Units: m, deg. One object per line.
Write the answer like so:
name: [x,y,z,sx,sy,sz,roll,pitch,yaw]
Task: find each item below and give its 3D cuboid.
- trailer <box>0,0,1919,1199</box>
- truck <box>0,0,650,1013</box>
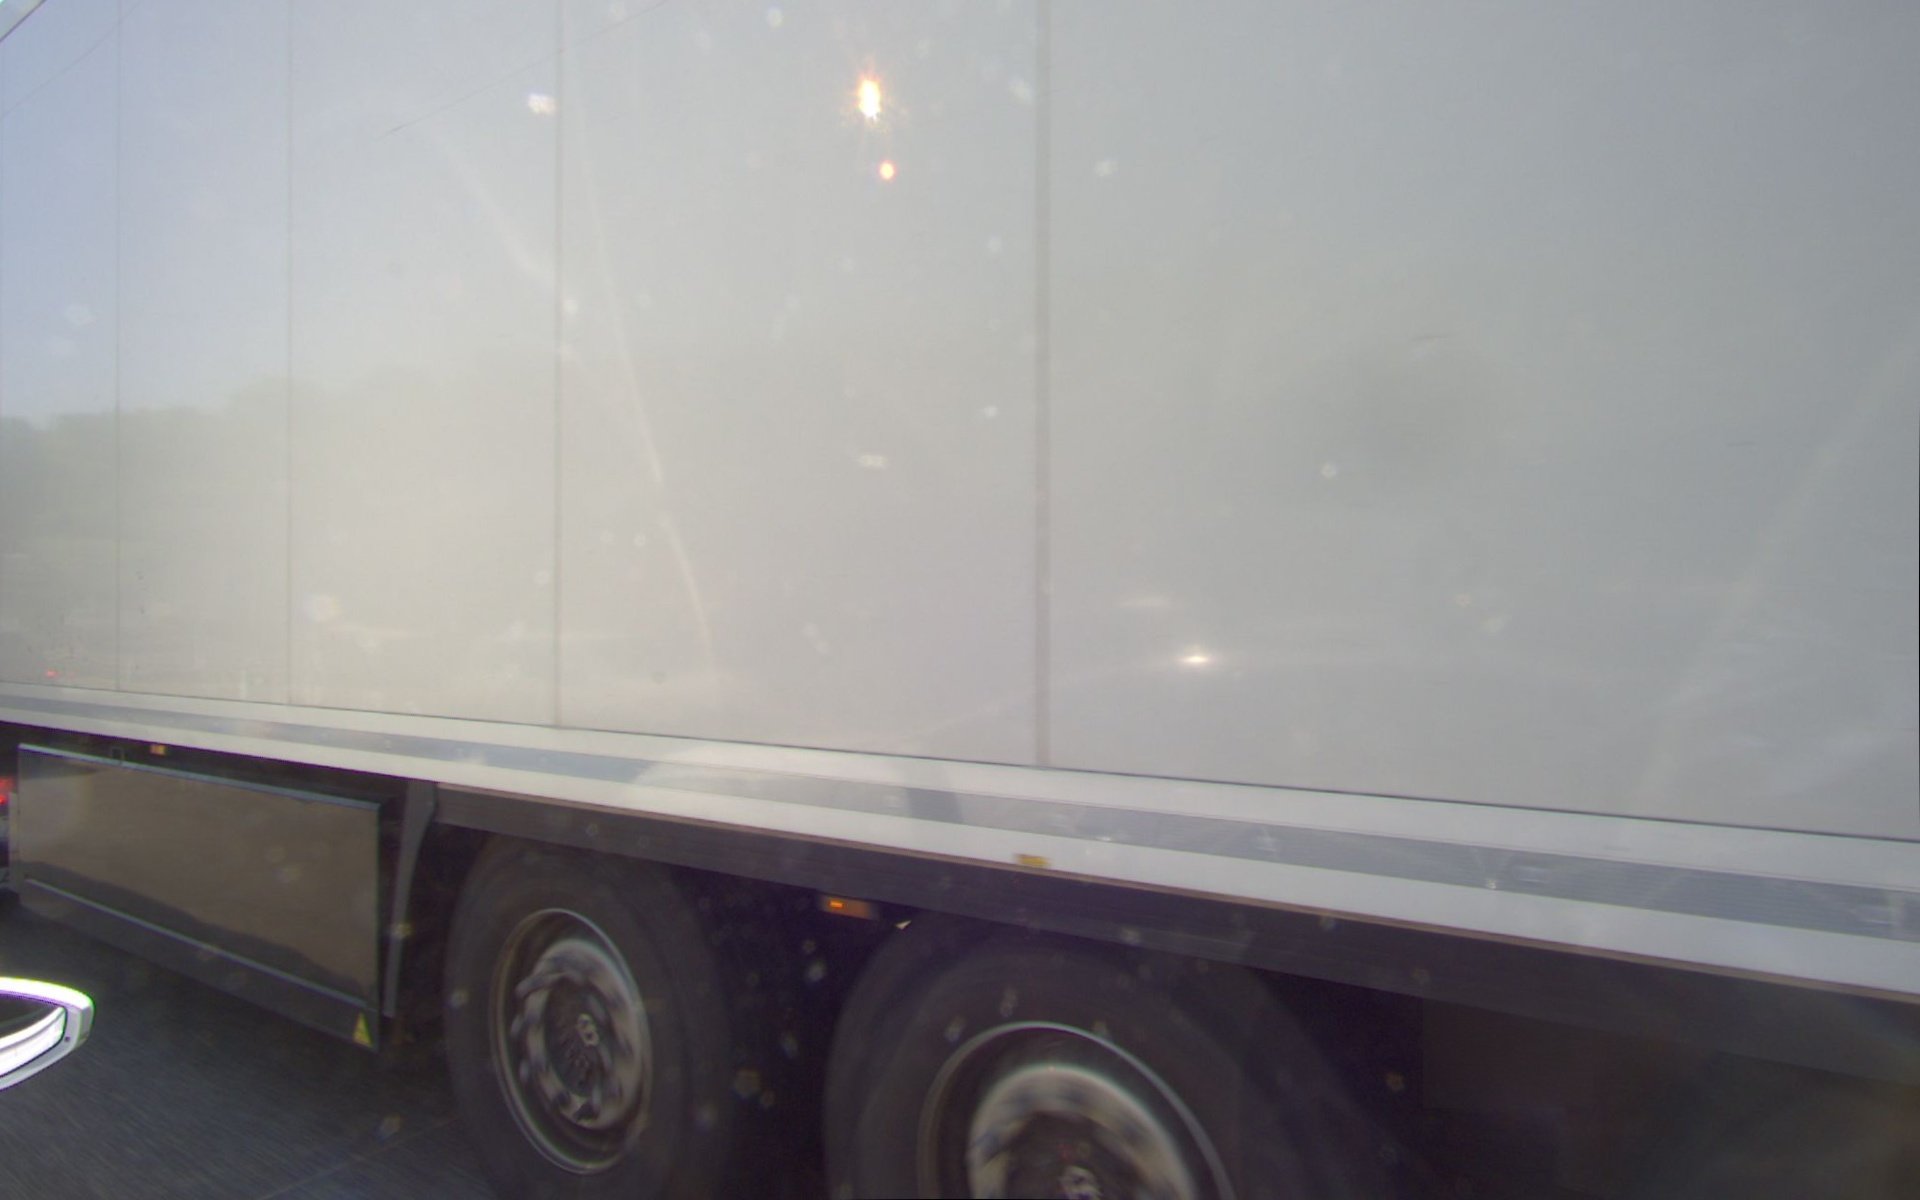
trailer: [0.998,-0.595,2.524,11.380,4.179,2.528,-1,-2,31]
truck: [-5.880,-0.456,6.762,8.118,4.076,2.510,-1,-2,32]
